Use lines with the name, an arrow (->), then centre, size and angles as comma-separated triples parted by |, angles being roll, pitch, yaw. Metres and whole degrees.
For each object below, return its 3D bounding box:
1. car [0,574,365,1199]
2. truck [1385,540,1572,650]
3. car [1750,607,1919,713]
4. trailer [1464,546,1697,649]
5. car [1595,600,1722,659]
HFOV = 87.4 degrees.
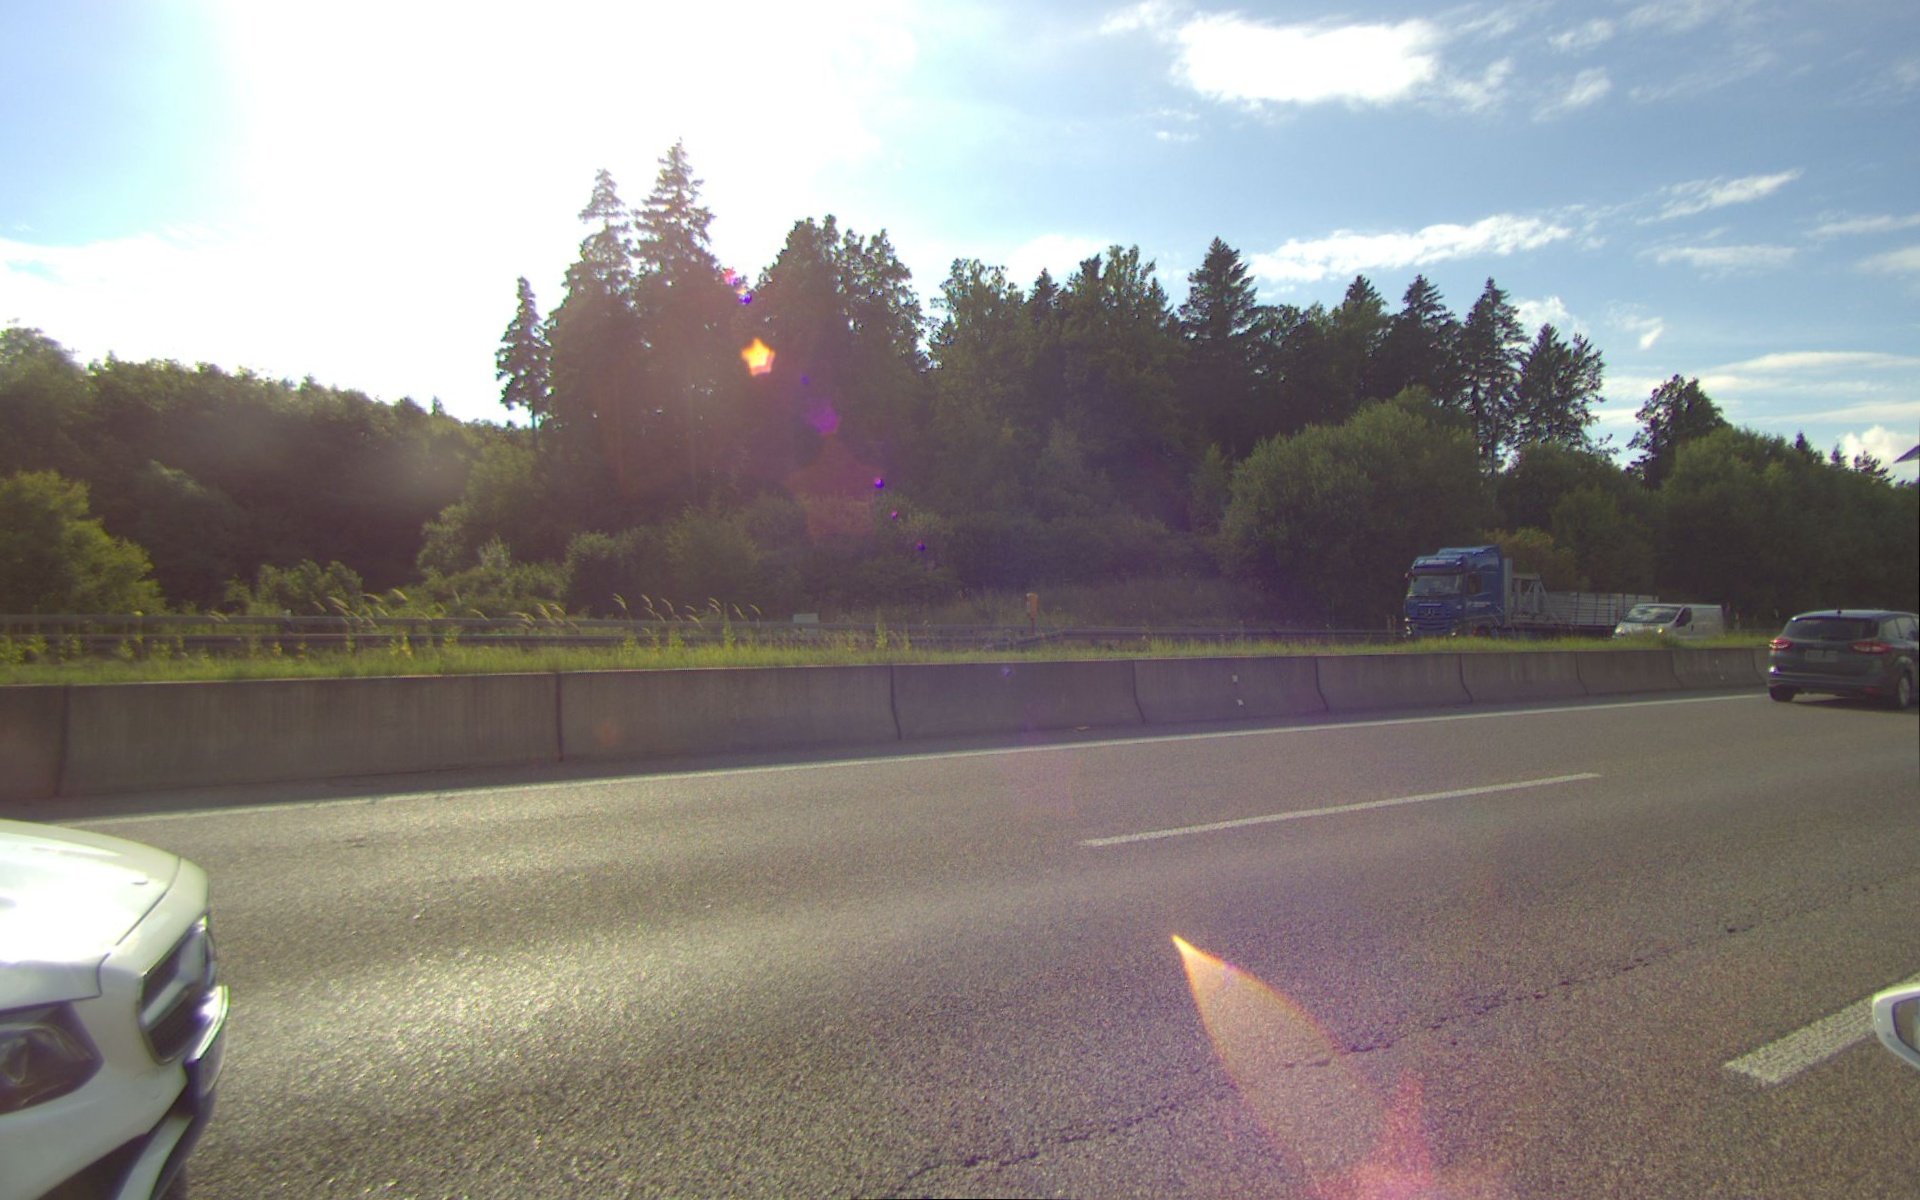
car -> -4.090, 0.690, 1.274 | 5.668, 1.519, 2.050 | 1, 0, -30
truck -> 19.900, -0.133, 38.492 | 7.039, 3.889, 3.100 | 1, 0, -30
car -> 15.832, 0.954, 17.566 | 4.157, 1.607, 1.798 | 0, 1, -31
trailer -> 26.342, -0.027, 42.294 | 12.066, 3.889, 3.109 | 1, 0, -31
car -> 25.572, 1.053, 36.748 | 4.801, 2.040, 1.984 | 1, 0, -30
